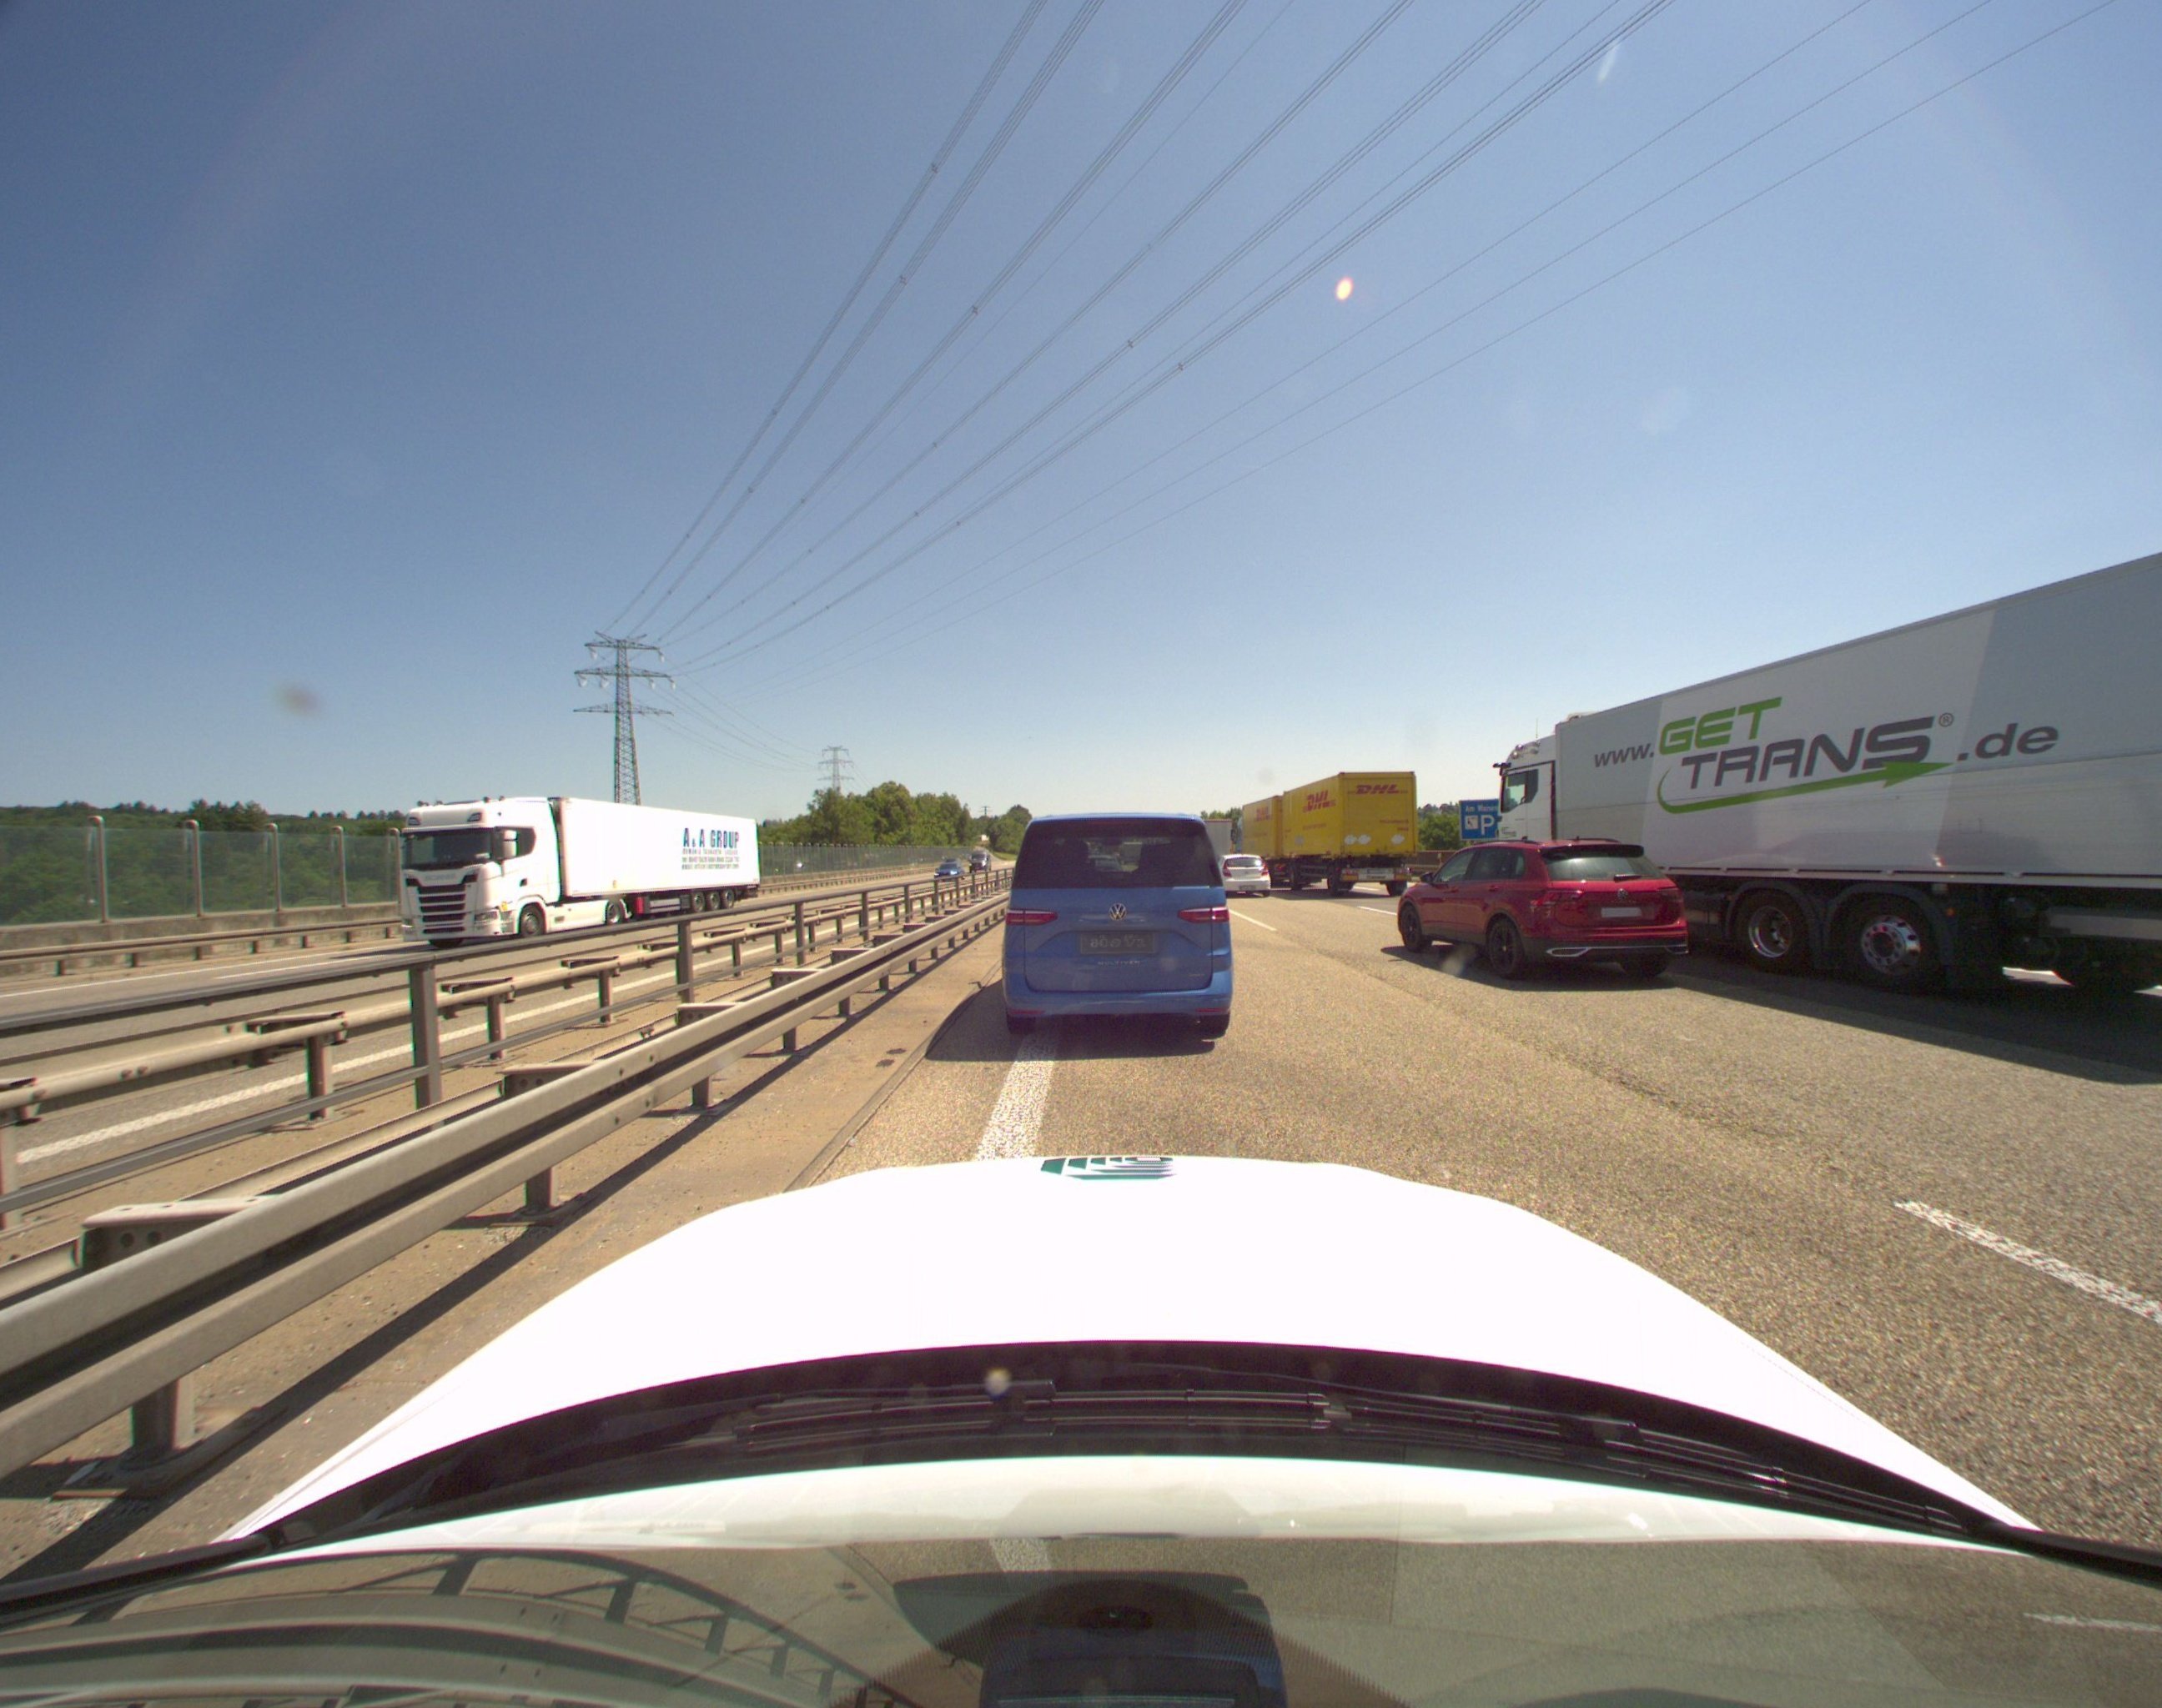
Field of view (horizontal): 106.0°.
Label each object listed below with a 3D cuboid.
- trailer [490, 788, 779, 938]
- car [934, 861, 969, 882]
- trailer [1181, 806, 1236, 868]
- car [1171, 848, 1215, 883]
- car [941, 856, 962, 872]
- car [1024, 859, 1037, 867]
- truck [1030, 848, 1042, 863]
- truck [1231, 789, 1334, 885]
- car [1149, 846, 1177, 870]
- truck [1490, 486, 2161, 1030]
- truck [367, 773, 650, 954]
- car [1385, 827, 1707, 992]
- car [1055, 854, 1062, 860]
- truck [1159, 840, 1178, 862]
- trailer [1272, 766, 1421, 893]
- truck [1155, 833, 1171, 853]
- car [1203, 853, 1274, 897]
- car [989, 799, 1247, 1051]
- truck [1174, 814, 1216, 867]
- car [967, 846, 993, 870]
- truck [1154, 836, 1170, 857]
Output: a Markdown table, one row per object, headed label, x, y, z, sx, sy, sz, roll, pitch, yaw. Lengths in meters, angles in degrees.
| label | x | y | z | sx | sy | sz | roll | pitch | yaw |
| --- | --- | --- | --- | --- | --- | --- | --- | --- | --- |
| trailer | -15.813 | 0.322 | 31.036 | 2.895 | 4.307 | 13.667 | -3 | -1 | 2 |
| car | -10.154 | 1.322 | 64.195 | 1.766 | 1.491 | 4.607 | -2 | 0 | 2 |
| trailer | 10.148 | -1.218 | 65.865 | 3.015 | 4.611 | 10.928 | 0 | -1 | 2 |
| car | 5.682 | 0.583 | 41.684 | 1.808 | 1.679 | 3.933 | 0 | -1 | 1 |
| car | -17.688 | 1.361 | 111.283 | 1.951 | 1.905 | 4.950 | -3 | -1 | 0 |
| car | -9.948 | 1.761 | 160.075 | 1.986 | 1.544 | 4.387 | -3 | -1 | 2 |
| truck | -12.851 | 0.557 | 233.504 | 2.660 | 4.185 | 6.293 | -2 | -1 | 3 |
| truck | 9.593 | -0.692 | 40.048 | 2.690 | 4.088 | 9.939 | 0 | -1 | 0 |
| car | 6.599 | 0.334 | 66.139 | 1.955 | 1.936 | 3.933 | 0 | -1 | 1 |
| truck | 9.337 | -0.655 | 10.609 | 2.842 | 3.934 | 10.611 | 0 | -1 | 1 |
| truck | -16.061 | 0.274 | 23.667 | 2.917 | 4.293 | 6.861 | -4 | -1 | 2 |
| car | 5.693 | 0.603 | 10.704 | 1.703 | 1.679 | 4.283 | -2 | -1 | -1 |
| car | -6.718 | 0.928 | 243.788 | 1.755 | 1.508 | 4.225 | -3 | 0 | 2 |
| truck | 10.093 | -0.268 | 93.795 | 1.791 | 2.449 | 4.506 | 0 | -1 | 2 |
| trailer | 9.568 | -0.747 | 30.631 | 2.674 | 4.088 | 8.979 | 0 | -1 | 0 |
| truck | 10.854 | -1.414 | 107.866 | 1.790 | 2.596 | 4.307 | 0 | -1 | 2 |
| car | 5.563 | 0.710 | 29.187 | 1.809 | 1.470 | 3.932 | 0 | -1 | 1 |
| car | 0.322 | 0.548 | 8.095 | 1.923 | 1.874 | 4.001 | 0 | -1 | 1 |
| truck | 10.448 | -1.150 | 75.305 | 3.015 | 4.611 | 7.924 | 0 | -1 | 2 |
| car | -11.752 | 0.517 | 95.479 | 1.987 | 2.582 | 6.649 | -4 | -1 | 0 |
| truck | 10.202 | -0.976 | 102.777 | 1.735 | 2.549 | 4.211 | 0 | -1 | 2 |
